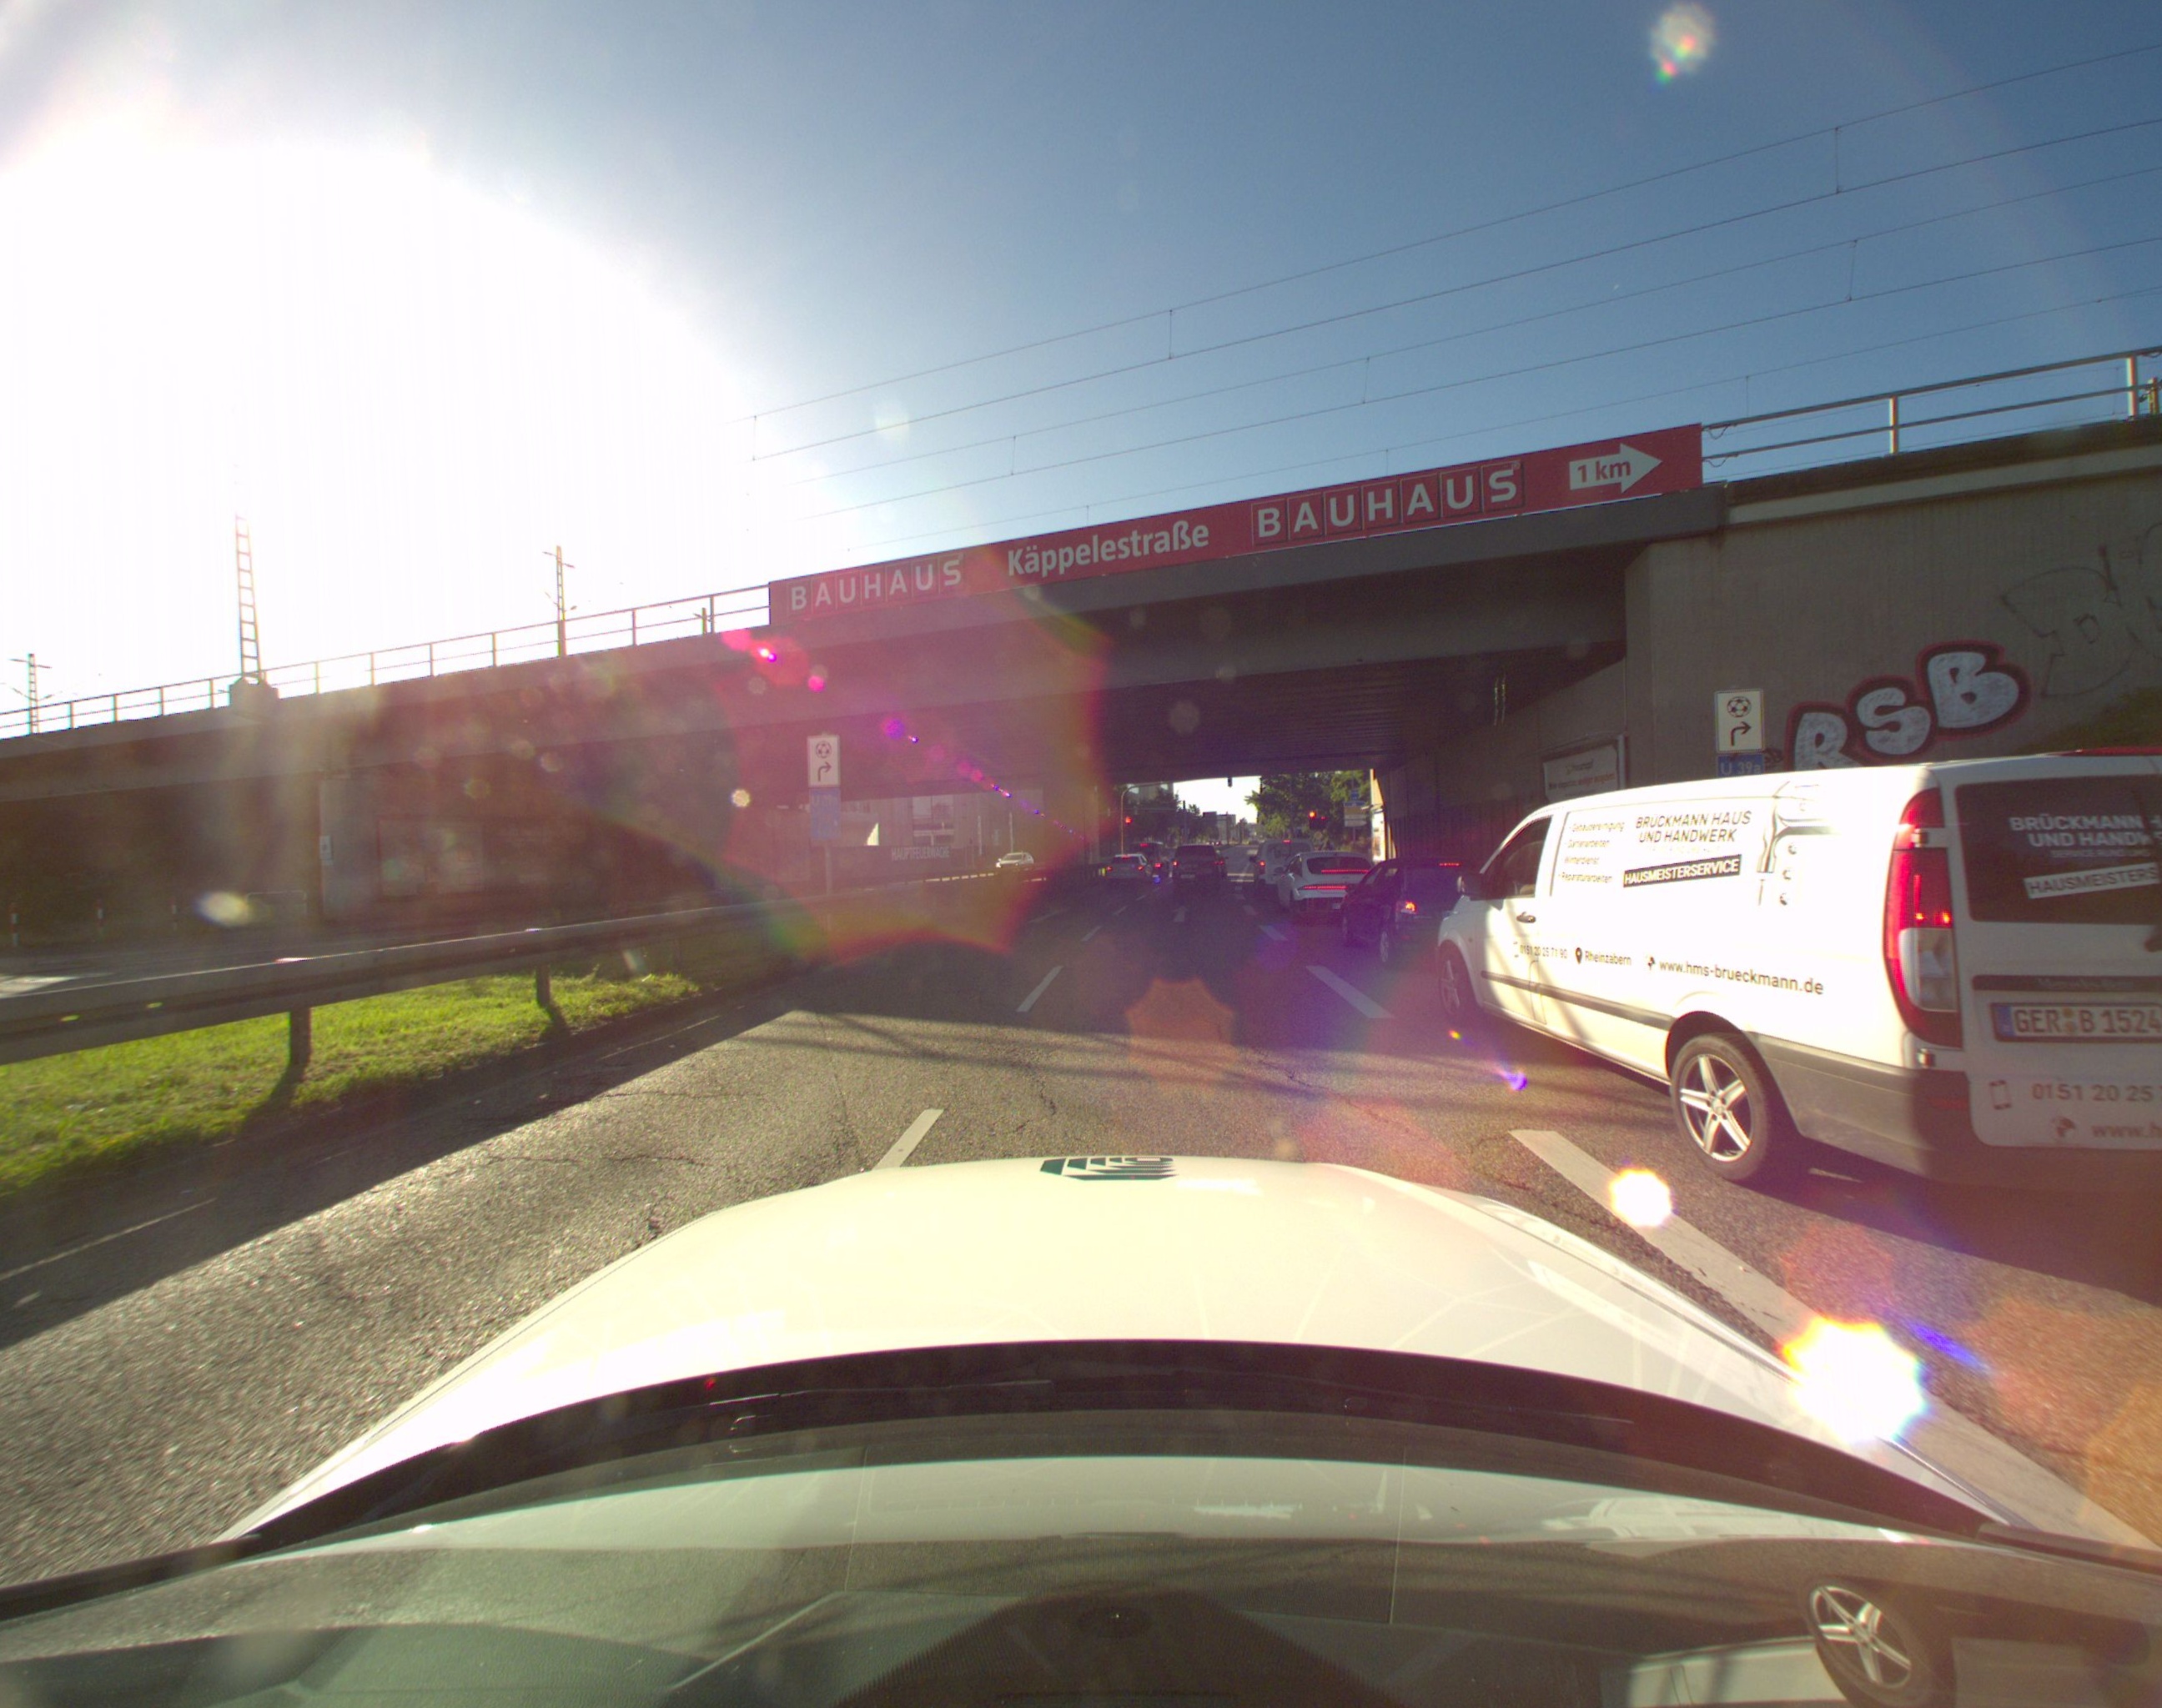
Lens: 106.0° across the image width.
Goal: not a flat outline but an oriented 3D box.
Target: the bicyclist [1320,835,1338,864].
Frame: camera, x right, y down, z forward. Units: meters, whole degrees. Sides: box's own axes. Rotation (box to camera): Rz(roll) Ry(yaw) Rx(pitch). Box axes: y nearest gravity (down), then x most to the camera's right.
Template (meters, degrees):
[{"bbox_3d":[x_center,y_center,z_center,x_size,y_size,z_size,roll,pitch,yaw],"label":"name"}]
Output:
[{"bbox_3d":[13.743,-0.241,45.190,0.746,1.584,0.928,-4,-1,11],"label":"bicyclist"}]

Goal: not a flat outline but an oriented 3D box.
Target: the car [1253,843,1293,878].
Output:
[{"bbox_3d":[8.955,0.299,38.111,1.696,1.520,3.755,-1,0,12],"label":"car"}]

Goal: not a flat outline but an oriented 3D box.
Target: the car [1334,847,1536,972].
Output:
[{"bbox_3d":[4.685,0.636,11.323,1.596,1.434,3.686,-1,1,7],"label":"car"}]

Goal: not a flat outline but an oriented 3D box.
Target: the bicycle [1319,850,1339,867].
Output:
[{"bbox_3d":[13.817,0.254,45.382,0.767,0.893,2.002,-4,-1,10],"label":"bicycle"}]

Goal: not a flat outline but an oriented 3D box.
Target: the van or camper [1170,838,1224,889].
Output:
[{"bbox_3d":[4.560,0.354,31.616,1.742,1.813,3.972,-1,0,12],"label":"van or camper"}]

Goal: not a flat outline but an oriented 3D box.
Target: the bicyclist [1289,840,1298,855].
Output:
[{"bbox_3d":[24.092,-0.757,92.269,0.915,1.584,0.773,-4,-1,16],"label":"bicyclist"}]

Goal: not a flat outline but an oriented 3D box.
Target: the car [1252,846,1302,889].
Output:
[{"bbox_3d":[7.478,0.473,31.218,1.696,1.522,3.755,-1,0,12],"label":"car"}]

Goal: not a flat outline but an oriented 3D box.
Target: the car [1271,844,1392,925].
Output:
[{"bbox_3d":[5.266,0.592,17.653,1.754,1.475,4.297,-2,0,7],"label":"car"}]

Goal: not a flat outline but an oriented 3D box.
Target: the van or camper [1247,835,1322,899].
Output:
[{"bbox_3d":[6.257,0.377,25.468,1.815,1.791,4.555,-1,0,8],"label":"van or camper"}]

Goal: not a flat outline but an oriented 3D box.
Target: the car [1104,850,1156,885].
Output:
[{"bbox_3d":[2.251,0.558,36.637,1.696,1.452,3.755,-1,0,12],"label":"car"}]

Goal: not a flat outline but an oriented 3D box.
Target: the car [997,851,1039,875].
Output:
[{"bbox_3d":[-4.467,0.625,58.114,1.770,1.645,4.216,-1,0,13],"label":"car"}]

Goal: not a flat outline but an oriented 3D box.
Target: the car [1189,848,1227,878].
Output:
[{"bbox_3d":[6.850,0.441,43.622,1.751,1.475,4.303,-2,0,12],"label":"car"}]

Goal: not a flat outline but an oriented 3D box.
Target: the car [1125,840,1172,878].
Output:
[{"bbox_3d":[3.716,0.246,44.049,1.853,1.947,4.612,-1,0,12],"label":"car"}]

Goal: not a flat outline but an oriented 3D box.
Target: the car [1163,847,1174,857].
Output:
[{"bbox_3d":[17.250,-0.413,160.488,1.773,1.863,3.921,-4,-1,12],"label":"car"}]

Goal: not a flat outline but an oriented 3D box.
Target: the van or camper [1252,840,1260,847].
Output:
[{"bbox_3d":[50.727,-3.129,236.070,1.771,1.863,3.927,-4,-1,18],"label":"van or camper"}]

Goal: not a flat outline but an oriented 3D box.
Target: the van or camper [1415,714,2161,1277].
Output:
[{"bbox_3d":[3.958,0.434,5.152,1.949,1.883,4.886,-2,1,4],"label":"van or camper"}]
